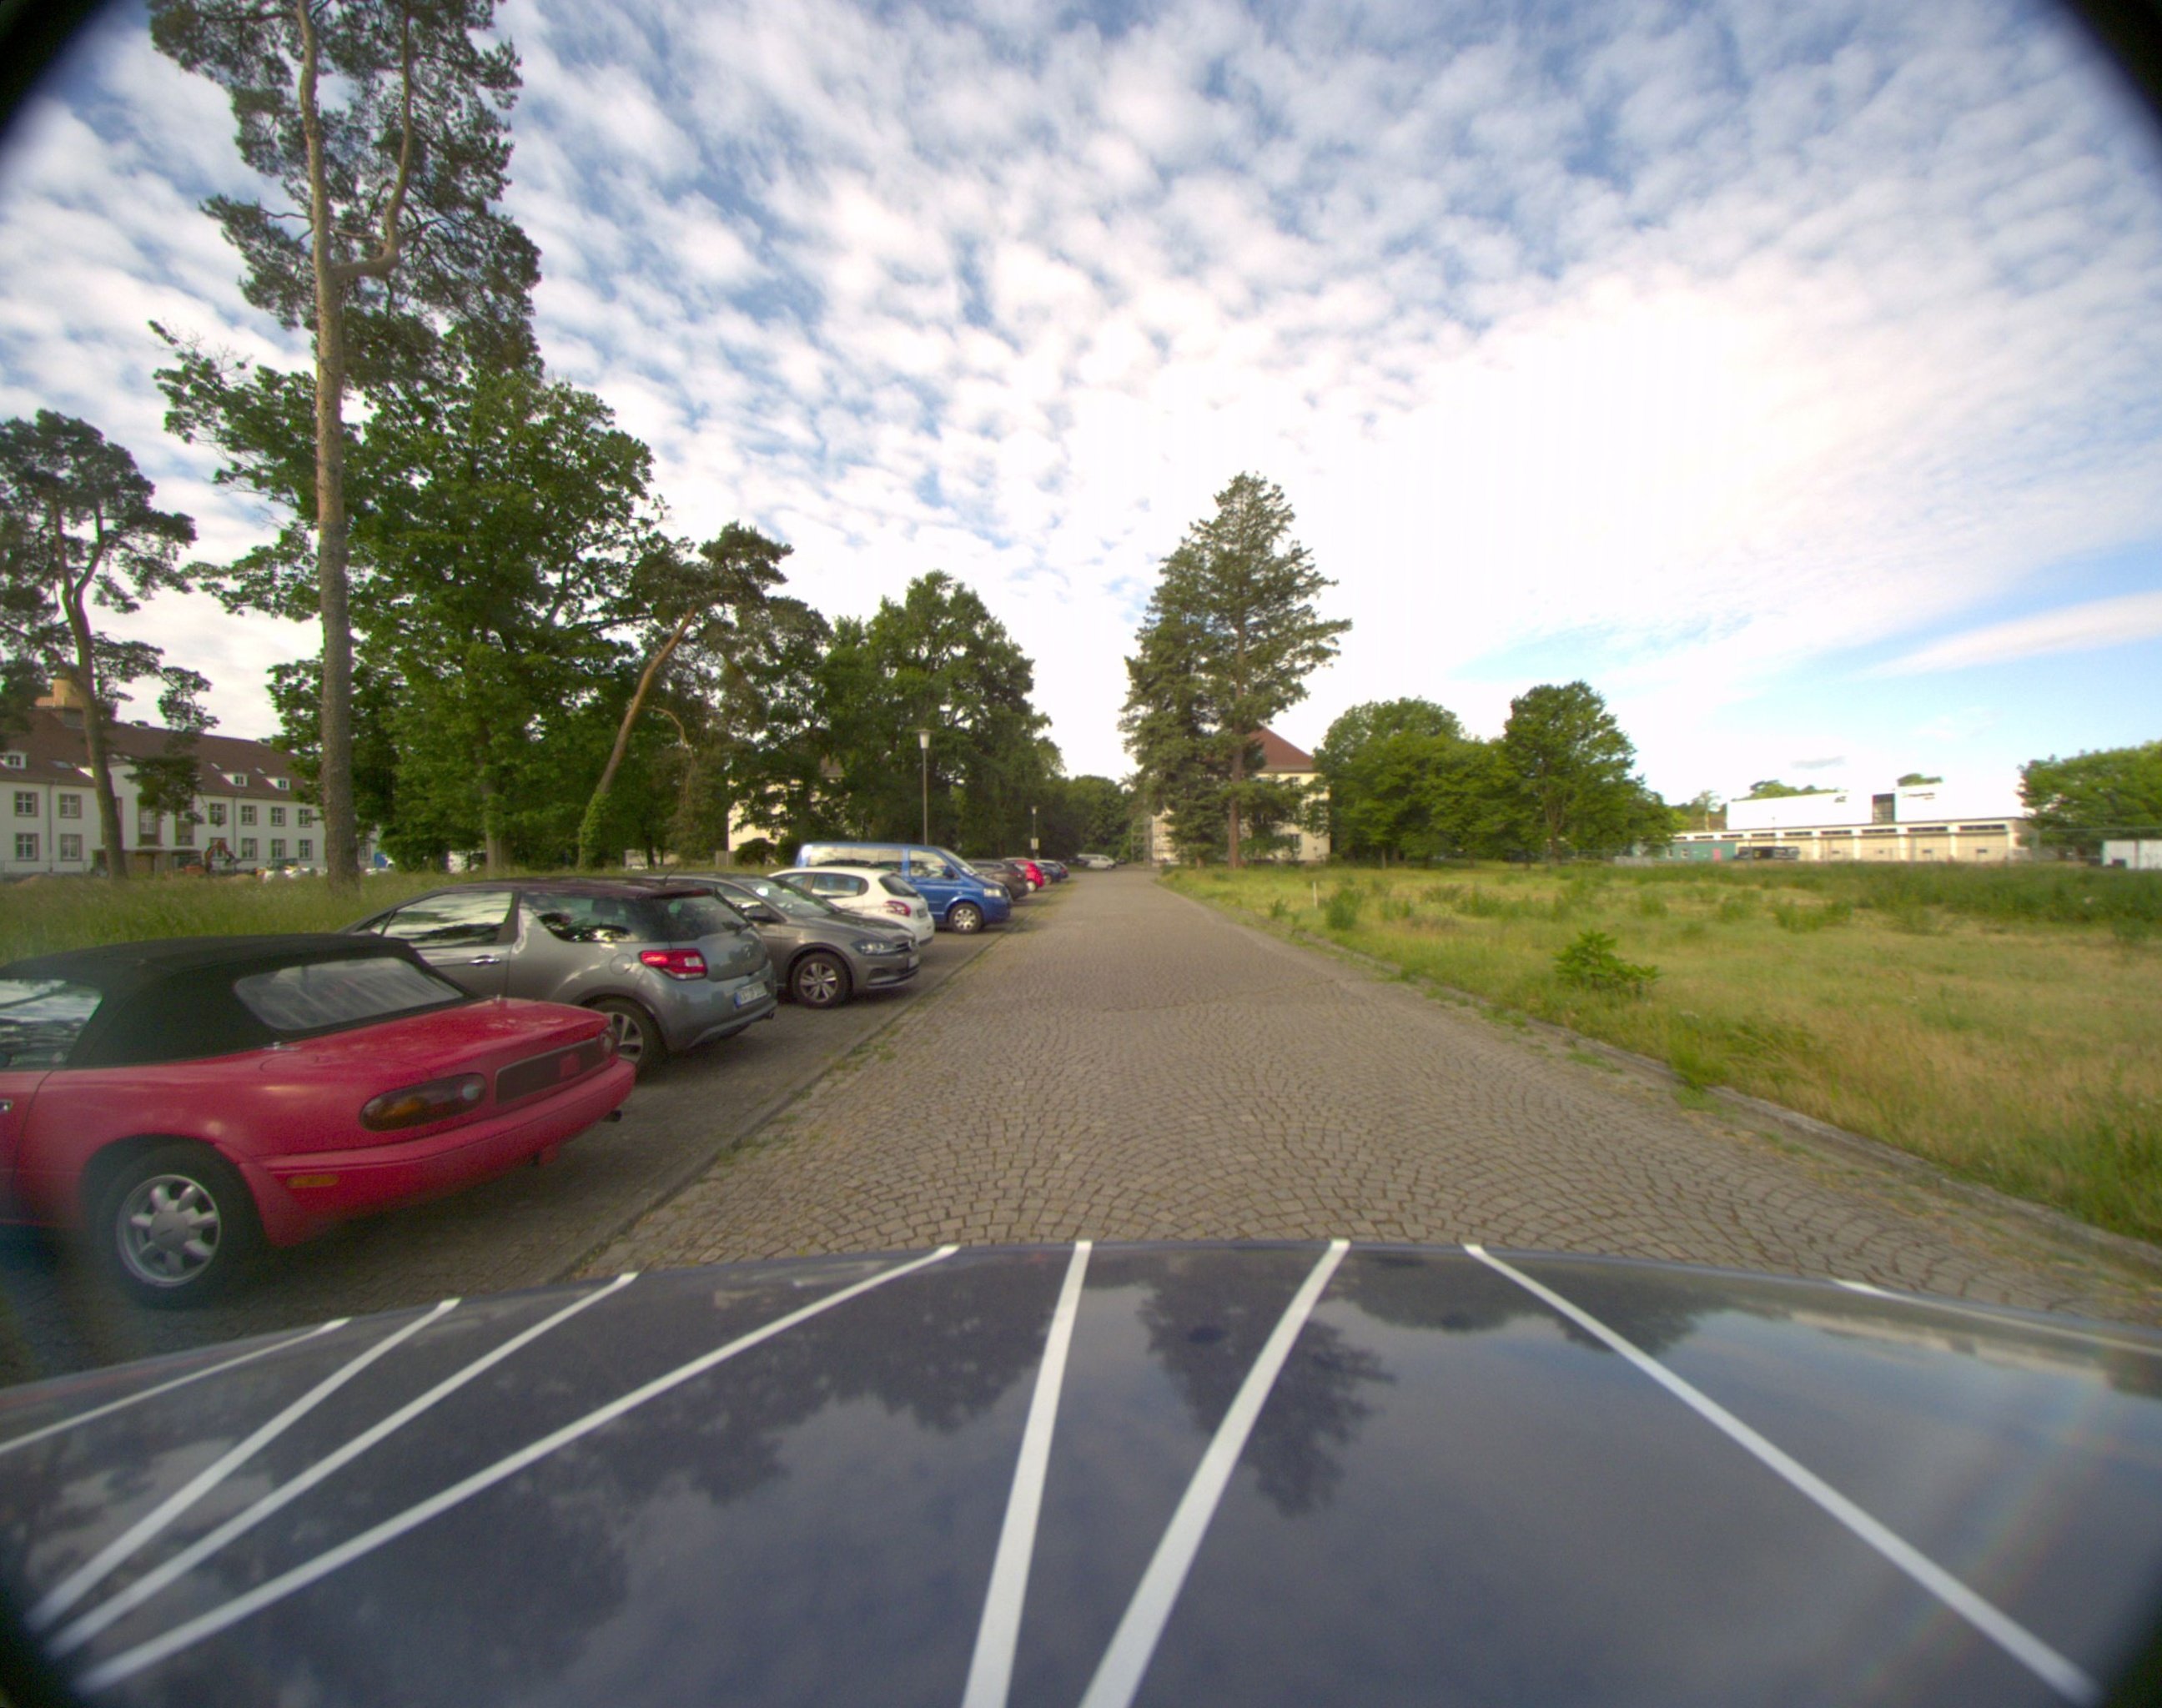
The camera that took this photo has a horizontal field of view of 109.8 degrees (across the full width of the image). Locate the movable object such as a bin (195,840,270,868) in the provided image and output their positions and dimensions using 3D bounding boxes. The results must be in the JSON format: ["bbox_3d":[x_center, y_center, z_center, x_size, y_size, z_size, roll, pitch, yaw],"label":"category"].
[{"bbox_3d":[-86.749,0.029,77.782,1.999,2.752,5.202,0,0,-3],"label":"movable object such as a bin"}]

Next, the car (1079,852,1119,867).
[{"bbox_3d":[2.338,0.742,99.958,5.129,2.002,1.804,0,0,0],"label":"car"}]

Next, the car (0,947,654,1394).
[{"bbox_3d":[-4.104,1.134,3.351,3.554,1.279,1.609,0,-1,3],"label":"car"}]

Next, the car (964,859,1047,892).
[{"bbox_3d":[-3.546,1.018,36.244,3.838,1.516,1.581,0,0,-2],"label":"car"}]

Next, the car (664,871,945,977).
[{"bbox_3d":[-4.158,1.037,11.788,3.761,1.490,1.581,0,0,4],"label":"car"}]

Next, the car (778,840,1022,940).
[{"bbox_3d":[-3.960,0.762,17.210,4.953,2.011,2.061,1,0,3],"label":"car"}]

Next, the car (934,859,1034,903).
[{"bbox_3d":[-3.620,1.001,28.775,3.633,1.592,1.581,0,0,-2],"label":"car"}]

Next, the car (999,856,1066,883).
[{"bbox_3d":[-2.941,0.959,46.613,3.835,1.609,1.582,0,0,6],"label":"car"}]

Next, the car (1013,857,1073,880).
[{"bbox_3d":[-2.568,0.994,51.392,3.835,1.520,1.674,0,0,6],"label":"car"}]

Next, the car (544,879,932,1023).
[{"bbox_3d":[-3.826,1.050,8.871,3.780,1.457,1.643,0,0,4],"label":"car"}]

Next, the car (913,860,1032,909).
[{"bbox_3d":[-3.634,1.006,25.852,3.838,1.592,1.581,0,0,-2],"label":"car"}]

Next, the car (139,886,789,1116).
[{"bbox_3d":[-4.540,1.040,5.993,3.837,1.494,1.604,0,0,2],"label":"car"}]
